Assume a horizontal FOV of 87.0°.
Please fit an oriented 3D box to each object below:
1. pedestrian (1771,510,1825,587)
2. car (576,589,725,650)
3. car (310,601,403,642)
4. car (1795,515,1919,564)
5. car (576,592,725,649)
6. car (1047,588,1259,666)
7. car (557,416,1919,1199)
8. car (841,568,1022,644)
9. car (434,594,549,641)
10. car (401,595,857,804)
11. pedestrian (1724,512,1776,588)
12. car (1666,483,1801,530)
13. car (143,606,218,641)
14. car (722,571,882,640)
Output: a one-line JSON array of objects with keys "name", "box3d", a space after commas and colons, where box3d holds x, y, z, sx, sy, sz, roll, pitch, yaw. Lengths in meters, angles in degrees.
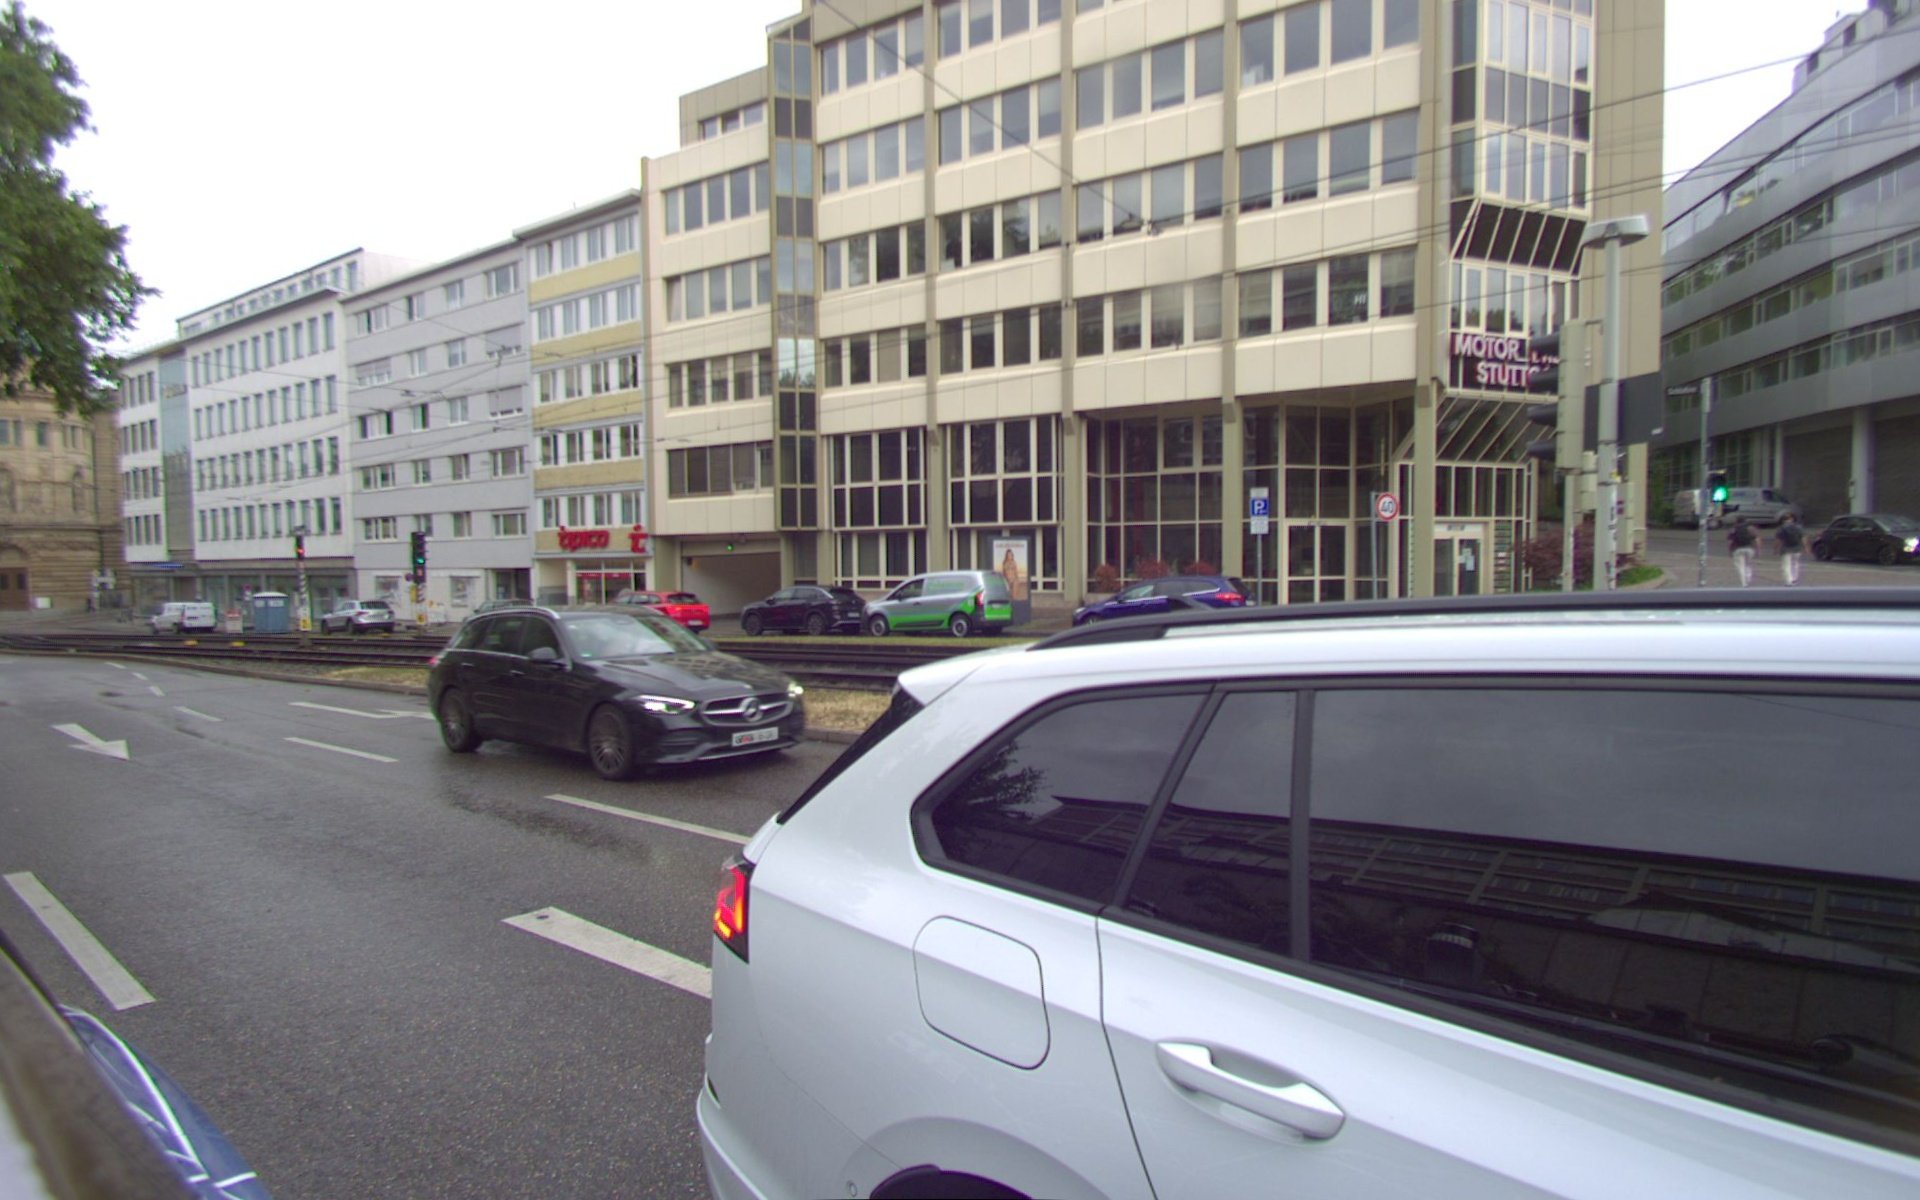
[{"name": "pedestrian", "box3d": [20.232, -1.241, 24.459, 0.804, 1.800, 0.637, -1, 3, 18]}, {"name": "car", "box3d": [-9.381, 0.537, 30.616, 4.406, 1.652, 1.964, 0, 3, 35]}, {"name": "car", "box3d": [-28.333, 1.011, 47.440, 4.686, 1.686, 1.977, -2, 3, 36]}, {"name": "car", "box3d": [27.662, -1.831, 30.340, 1.803, 1.374, 4.004, -2, 3, -3]}, {"name": "car", "box3d": [-9.352, 0.576, 30.524, 4.315, 1.498, 1.978, 0, 4, 33]}, {"name": "car", "box3d": [4.553, 0.585, 24.071, 4.536, 1.593, 1.978, 0, 4, 34]}, {"name": "car", "box3d": [1.347, 0.637, 1.275, 4.251, 1.588, 1.662, -1, 1, 41]}, {"name": "car", "box3d": [-0.824, 0.130, 28.006, 4.682, 1.863, 1.978, 0, 4, 34]}, {"name": "car", "box3d": [-18.921, 0.666, 40.839, 4.682, 1.686, 1.978, 0, 4, 34]}, {"name": "car", "box3d": [-3.366, 0.797, 9.823, 4.638, 1.478, 1.974, -2, 2, 39]}, {"name": "pedestrian", "box3d": [19.262, -1.222, 24.688, 0.804, 1.800, 0.637, -1, 3, 18]}, {"name": "car", "box3d": [37.299, -4.481, 48.919, 4.779, 2.028, 1.996, -2, 3, 8]}, {"name": "car", "box3d": [-46.810, 1.356, 60.754, 5.117, 1.856, 1.978, 0, 4, 34]}, {"name": "car", "box3d": [-4.855, 0.132, 30.921, 4.682, 1.863, 1.978, 0, 4, 34]}]
